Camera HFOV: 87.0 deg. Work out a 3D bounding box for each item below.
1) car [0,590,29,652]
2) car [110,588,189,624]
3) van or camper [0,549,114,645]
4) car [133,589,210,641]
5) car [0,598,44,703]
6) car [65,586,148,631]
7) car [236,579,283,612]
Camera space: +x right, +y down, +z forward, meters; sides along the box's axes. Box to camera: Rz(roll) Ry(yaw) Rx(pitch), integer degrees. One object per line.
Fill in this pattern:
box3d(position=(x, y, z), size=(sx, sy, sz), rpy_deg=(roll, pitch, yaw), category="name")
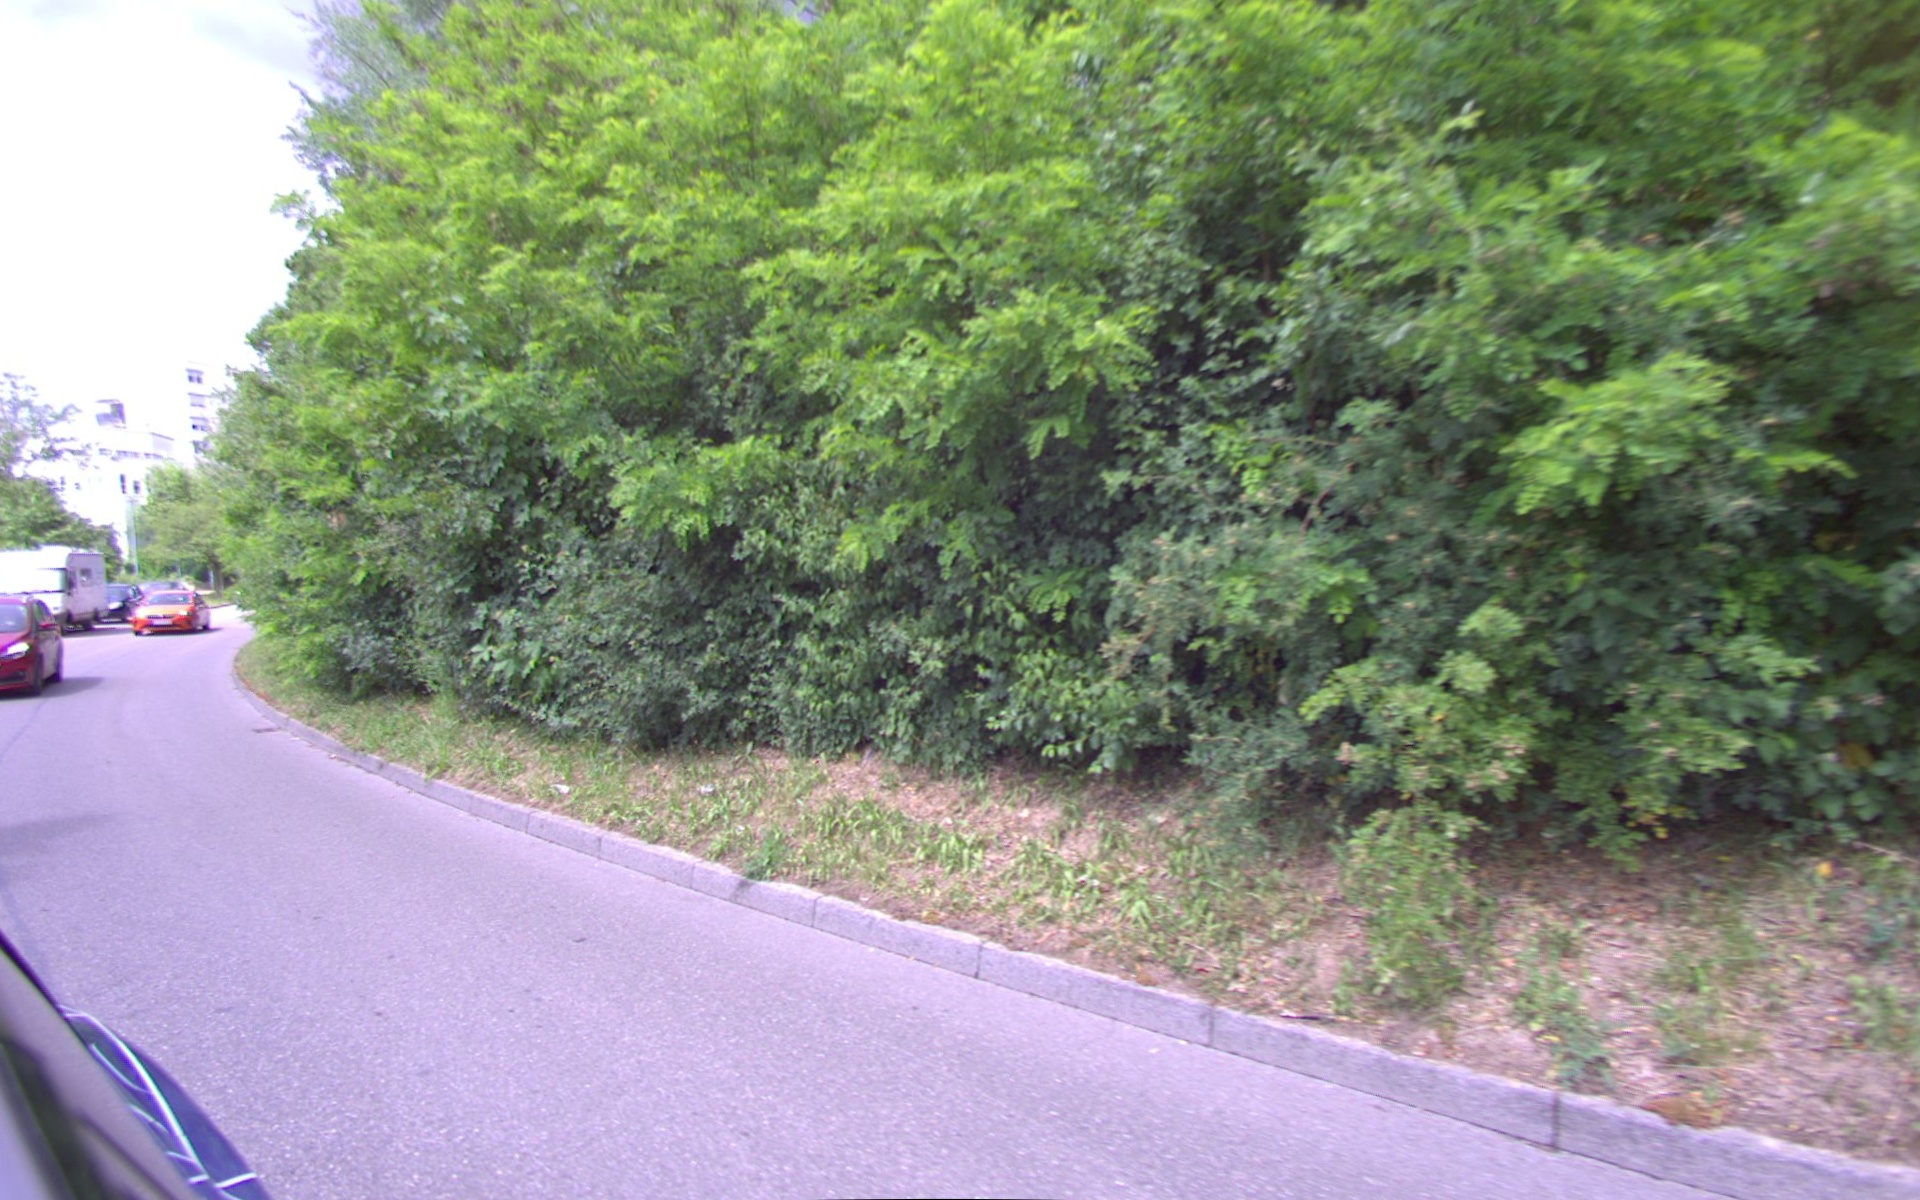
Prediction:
box3d(position=(-27.260, 0.618, 27.817), size=(1.687, 1.603, 4.012), rpy_deg=(-4, 4, -32), category="car")
box3d(position=(-37.278, 0.242, 46.667), size=(1.751, 1.445, 4.348), rpy_deg=(-2, 3, -24), category="car")
box3d(position=(-30.815, -0.159, 33.998), size=(2.300, 2.890, 6.170), rpy_deg=(-4, 3, -28), category="van or camper")
box3d(position=(-26.992, 0.455, 34.750), size=(1.833, 1.453, 4.010), rpy_deg=(-5, 5, -35), category="car")
box3d(position=(-16.581, 0.779, 16.942), size=(1.786, 1.621, 3.727), rpy_deg=(1, 0, -42), category="car")
box3d(position=(-34.133, 0.299, 40.565), size=(1.705, 1.530, 3.902), rpy_deg=(-2, 4, -28), category="car")
box3d(position=(-37.089, -0.287, 53.654), size=(1.752, 1.462, 4.012), rpy_deg=(-4, 5, -31), category="car")
